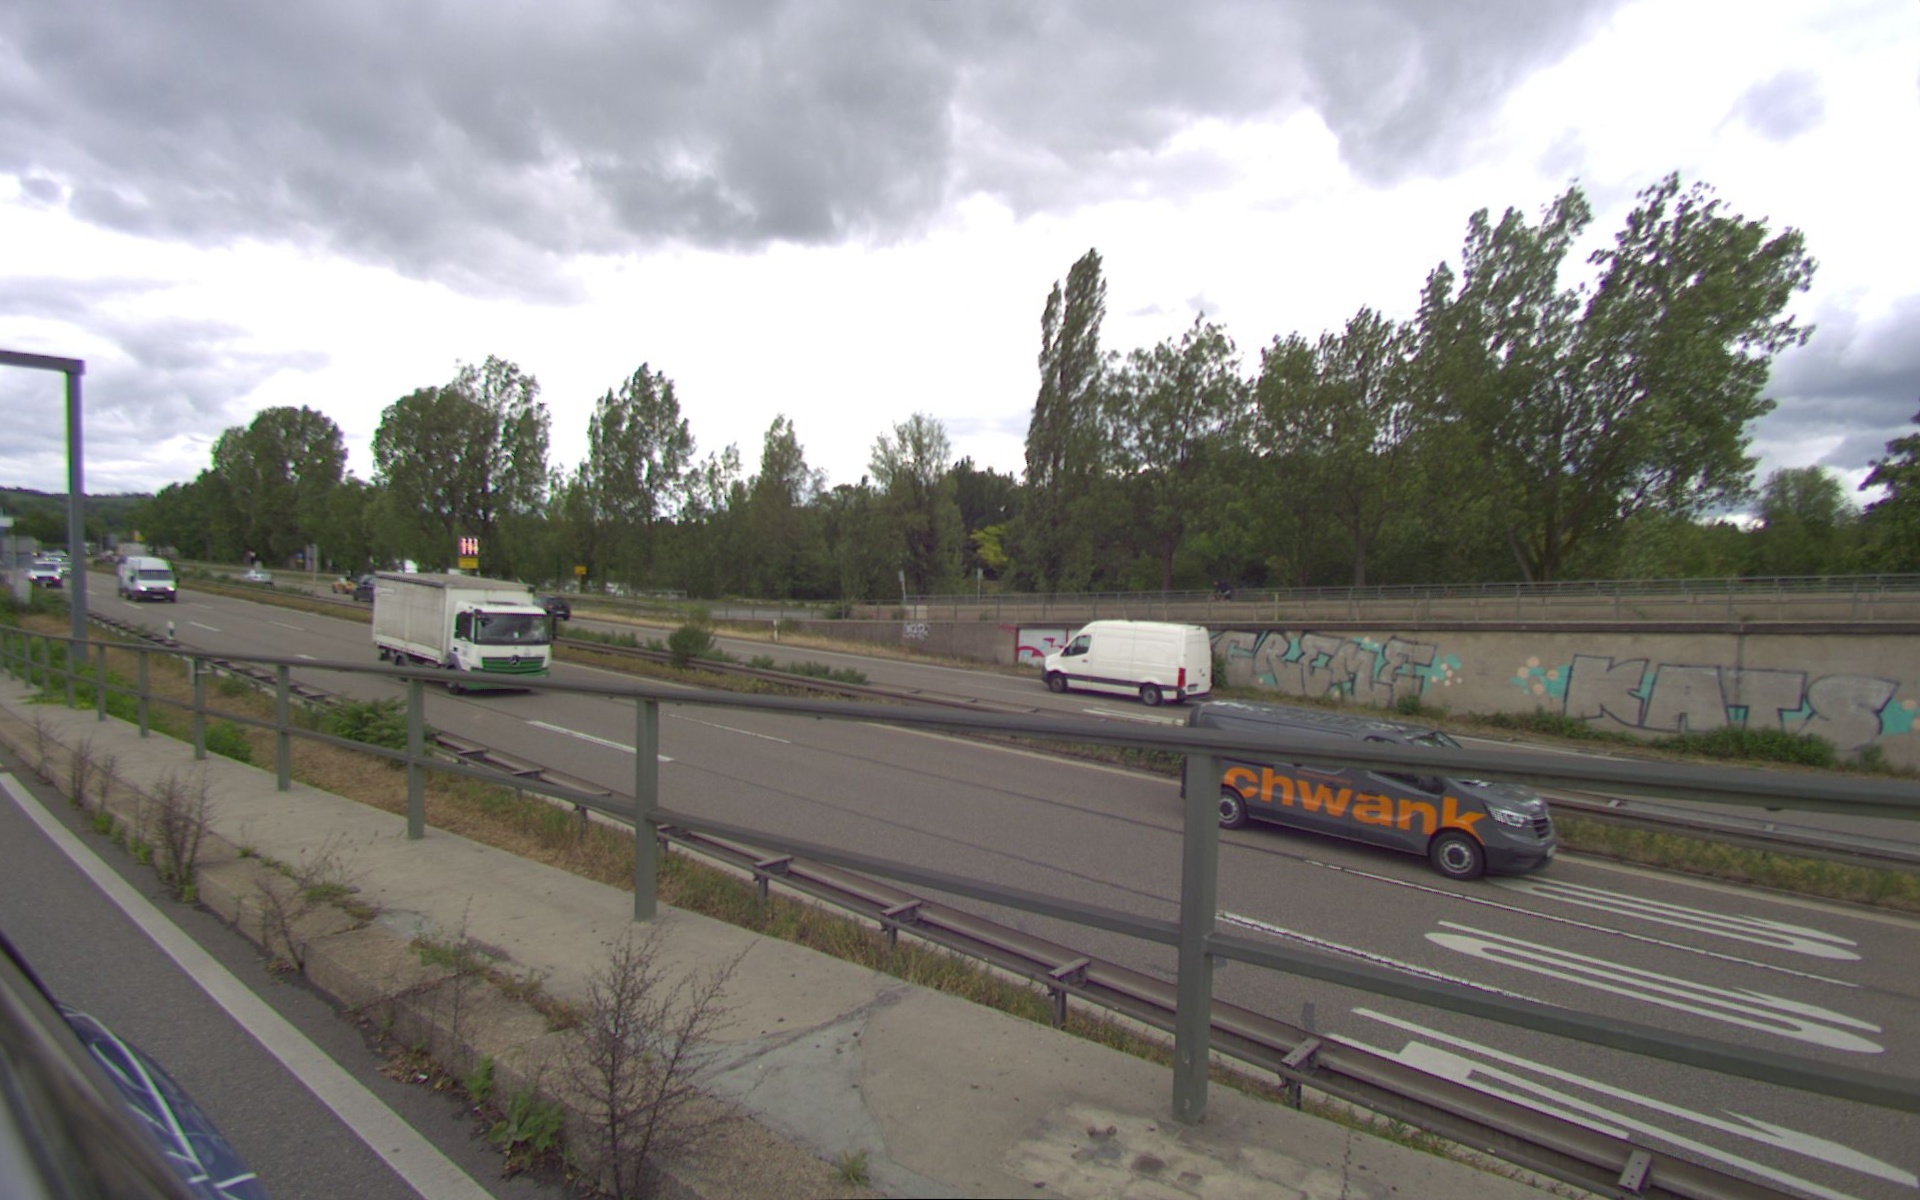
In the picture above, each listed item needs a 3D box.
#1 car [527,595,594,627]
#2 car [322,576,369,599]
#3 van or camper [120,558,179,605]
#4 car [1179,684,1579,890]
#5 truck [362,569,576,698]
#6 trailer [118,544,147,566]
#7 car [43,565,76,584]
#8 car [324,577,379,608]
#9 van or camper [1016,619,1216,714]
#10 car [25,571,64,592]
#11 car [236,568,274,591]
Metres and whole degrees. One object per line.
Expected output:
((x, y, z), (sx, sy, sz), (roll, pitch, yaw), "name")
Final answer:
((-24.358, 0.649, 61.631), (4.704, 1.705, 1.972), (4, 2, 43), "car")
((-51.198, -1.082, 84.304), (4.701, 1.732, 1.973), (3, 1, 41), "car")
((-50.629, -1.199, 63.187), (6.332, 2.623, 2.180), (4, 3, 45), "van or camper")
((6.353, 2.674, 15.821), (5.338, 2.028, 2.072), (4, 2, 41), "car")
((-14.777, 0.817, 30.165), (7.567, 3.182, 3.000), (4, 2, 41), "truck")
((-159.308, -8.746, 194.714), (13.520, 3.978, 2.759), (3, 3, 44), "trailer")
((-87.366, -2.517, 98.210), (4.000, 1.758, 1.972), (2, 1, 42), "car")
((-44.815, -0.576, 74.497), (5.116, 2.003, 2.069), (4, 2, 43), "car")
((5.085, 2.079, 33.734), (6.343, 2.475, 2.160), (4, 3, 40), "van or camper")
((-67.120, -1.375, 74.176), (1.970, 1.410, 4.004), (1, 1, -44), "car")
((-67.394, -1.959, 96.729), (4.704, 1.704, 1.972), (7, 4, 42), "car")
